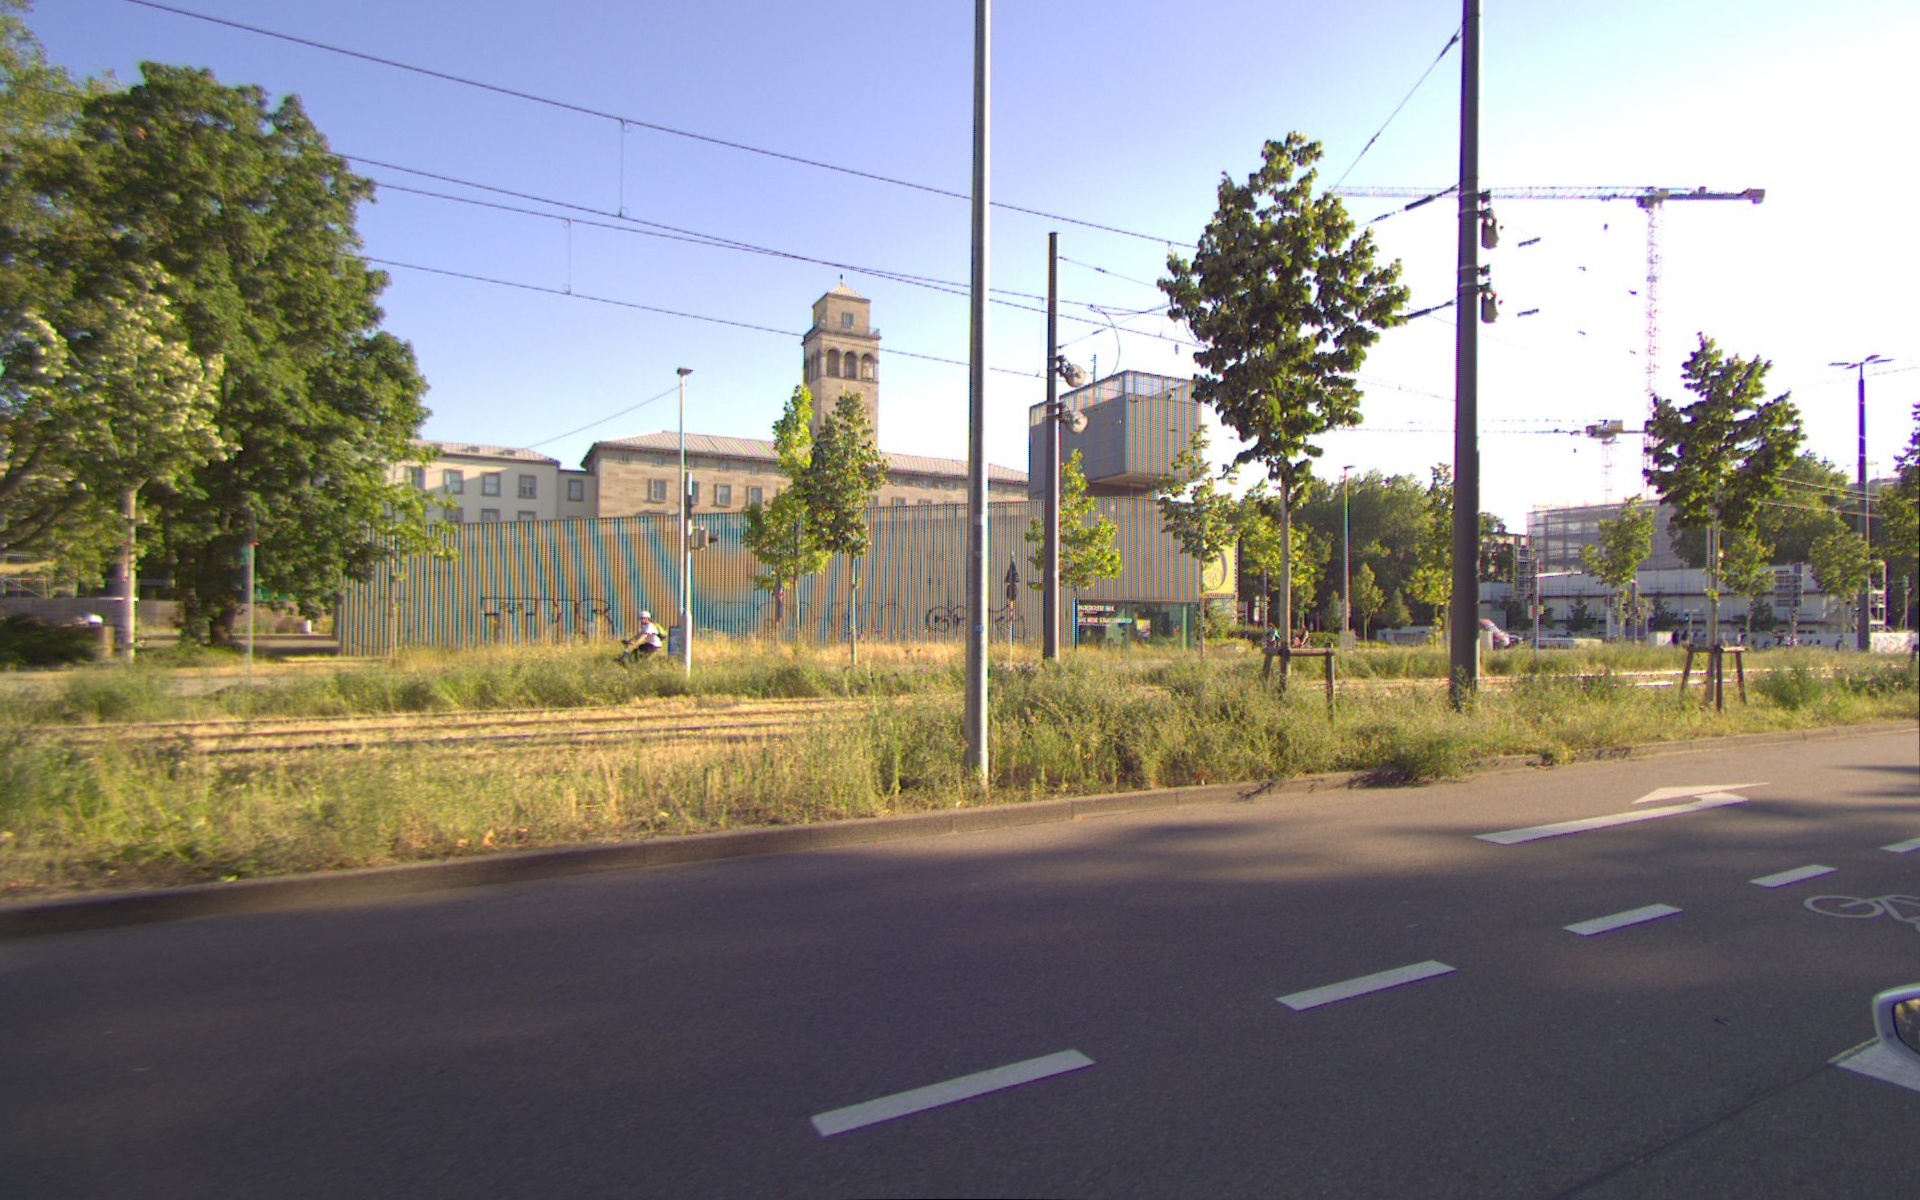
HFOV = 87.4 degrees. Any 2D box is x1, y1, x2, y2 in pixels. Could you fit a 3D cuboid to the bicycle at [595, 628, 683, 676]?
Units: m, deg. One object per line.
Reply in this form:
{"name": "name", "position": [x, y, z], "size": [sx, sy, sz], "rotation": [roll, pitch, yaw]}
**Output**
{"name": "bicycle", "position": [-7.479, 1.207, 23.449], "size": [1.876, 1.074, 0.556], "rotation": [1, -1, -30]}

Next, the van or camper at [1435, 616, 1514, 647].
{"name": "van or camper", "position": [42.204, 2.585, 82.584], "size": [2.128, 2.446, 5.638], "rotation": [1, -1, -28]}

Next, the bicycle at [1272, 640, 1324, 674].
{"name": "bicycle", "position": [11.741, 1.962, 34.877], "size": [1.964, 1.119, 0.581], "rotation": [1, -1, -30]}

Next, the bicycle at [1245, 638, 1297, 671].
{"name": "bicycle", "position": [10.966, 1.917, 35.413], "size": [1.964, 1.119, 0.581], "rotation": [1, -1, -30]}

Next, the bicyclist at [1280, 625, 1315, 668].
{"name": "bicyclist", "position": [11.723, 1.614, 34.859], "size": [1.063, 1.461, 0.581], "rotation": [1, 0, -30]}

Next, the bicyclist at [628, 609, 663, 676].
{"name": "bicyclist", "position": [-7.359, 0.985, 23.519], "size": [0.660, 1.527, 0.554], "rotation": [1, -1, -30]}

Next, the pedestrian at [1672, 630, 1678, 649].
{"name": "pedestrian", "position": [56.032, 3.101, 78.723], "size": [0.276, 1.484, 0.272], "rotation": [1, -1, -30]}

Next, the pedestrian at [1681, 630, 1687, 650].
{"name": "pedestrian", "position": [56.483, 3.122, 78.360], "size": [0.312, 1.484, 0.272], "rotation": [1, -1, -30]}

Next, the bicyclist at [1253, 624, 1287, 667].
{"name": "bicyclist", "position": [10.912, 1.590, 35.382], "size": [1.063, 1.461, 0.581], "rotation": [1, 0, -30]}
